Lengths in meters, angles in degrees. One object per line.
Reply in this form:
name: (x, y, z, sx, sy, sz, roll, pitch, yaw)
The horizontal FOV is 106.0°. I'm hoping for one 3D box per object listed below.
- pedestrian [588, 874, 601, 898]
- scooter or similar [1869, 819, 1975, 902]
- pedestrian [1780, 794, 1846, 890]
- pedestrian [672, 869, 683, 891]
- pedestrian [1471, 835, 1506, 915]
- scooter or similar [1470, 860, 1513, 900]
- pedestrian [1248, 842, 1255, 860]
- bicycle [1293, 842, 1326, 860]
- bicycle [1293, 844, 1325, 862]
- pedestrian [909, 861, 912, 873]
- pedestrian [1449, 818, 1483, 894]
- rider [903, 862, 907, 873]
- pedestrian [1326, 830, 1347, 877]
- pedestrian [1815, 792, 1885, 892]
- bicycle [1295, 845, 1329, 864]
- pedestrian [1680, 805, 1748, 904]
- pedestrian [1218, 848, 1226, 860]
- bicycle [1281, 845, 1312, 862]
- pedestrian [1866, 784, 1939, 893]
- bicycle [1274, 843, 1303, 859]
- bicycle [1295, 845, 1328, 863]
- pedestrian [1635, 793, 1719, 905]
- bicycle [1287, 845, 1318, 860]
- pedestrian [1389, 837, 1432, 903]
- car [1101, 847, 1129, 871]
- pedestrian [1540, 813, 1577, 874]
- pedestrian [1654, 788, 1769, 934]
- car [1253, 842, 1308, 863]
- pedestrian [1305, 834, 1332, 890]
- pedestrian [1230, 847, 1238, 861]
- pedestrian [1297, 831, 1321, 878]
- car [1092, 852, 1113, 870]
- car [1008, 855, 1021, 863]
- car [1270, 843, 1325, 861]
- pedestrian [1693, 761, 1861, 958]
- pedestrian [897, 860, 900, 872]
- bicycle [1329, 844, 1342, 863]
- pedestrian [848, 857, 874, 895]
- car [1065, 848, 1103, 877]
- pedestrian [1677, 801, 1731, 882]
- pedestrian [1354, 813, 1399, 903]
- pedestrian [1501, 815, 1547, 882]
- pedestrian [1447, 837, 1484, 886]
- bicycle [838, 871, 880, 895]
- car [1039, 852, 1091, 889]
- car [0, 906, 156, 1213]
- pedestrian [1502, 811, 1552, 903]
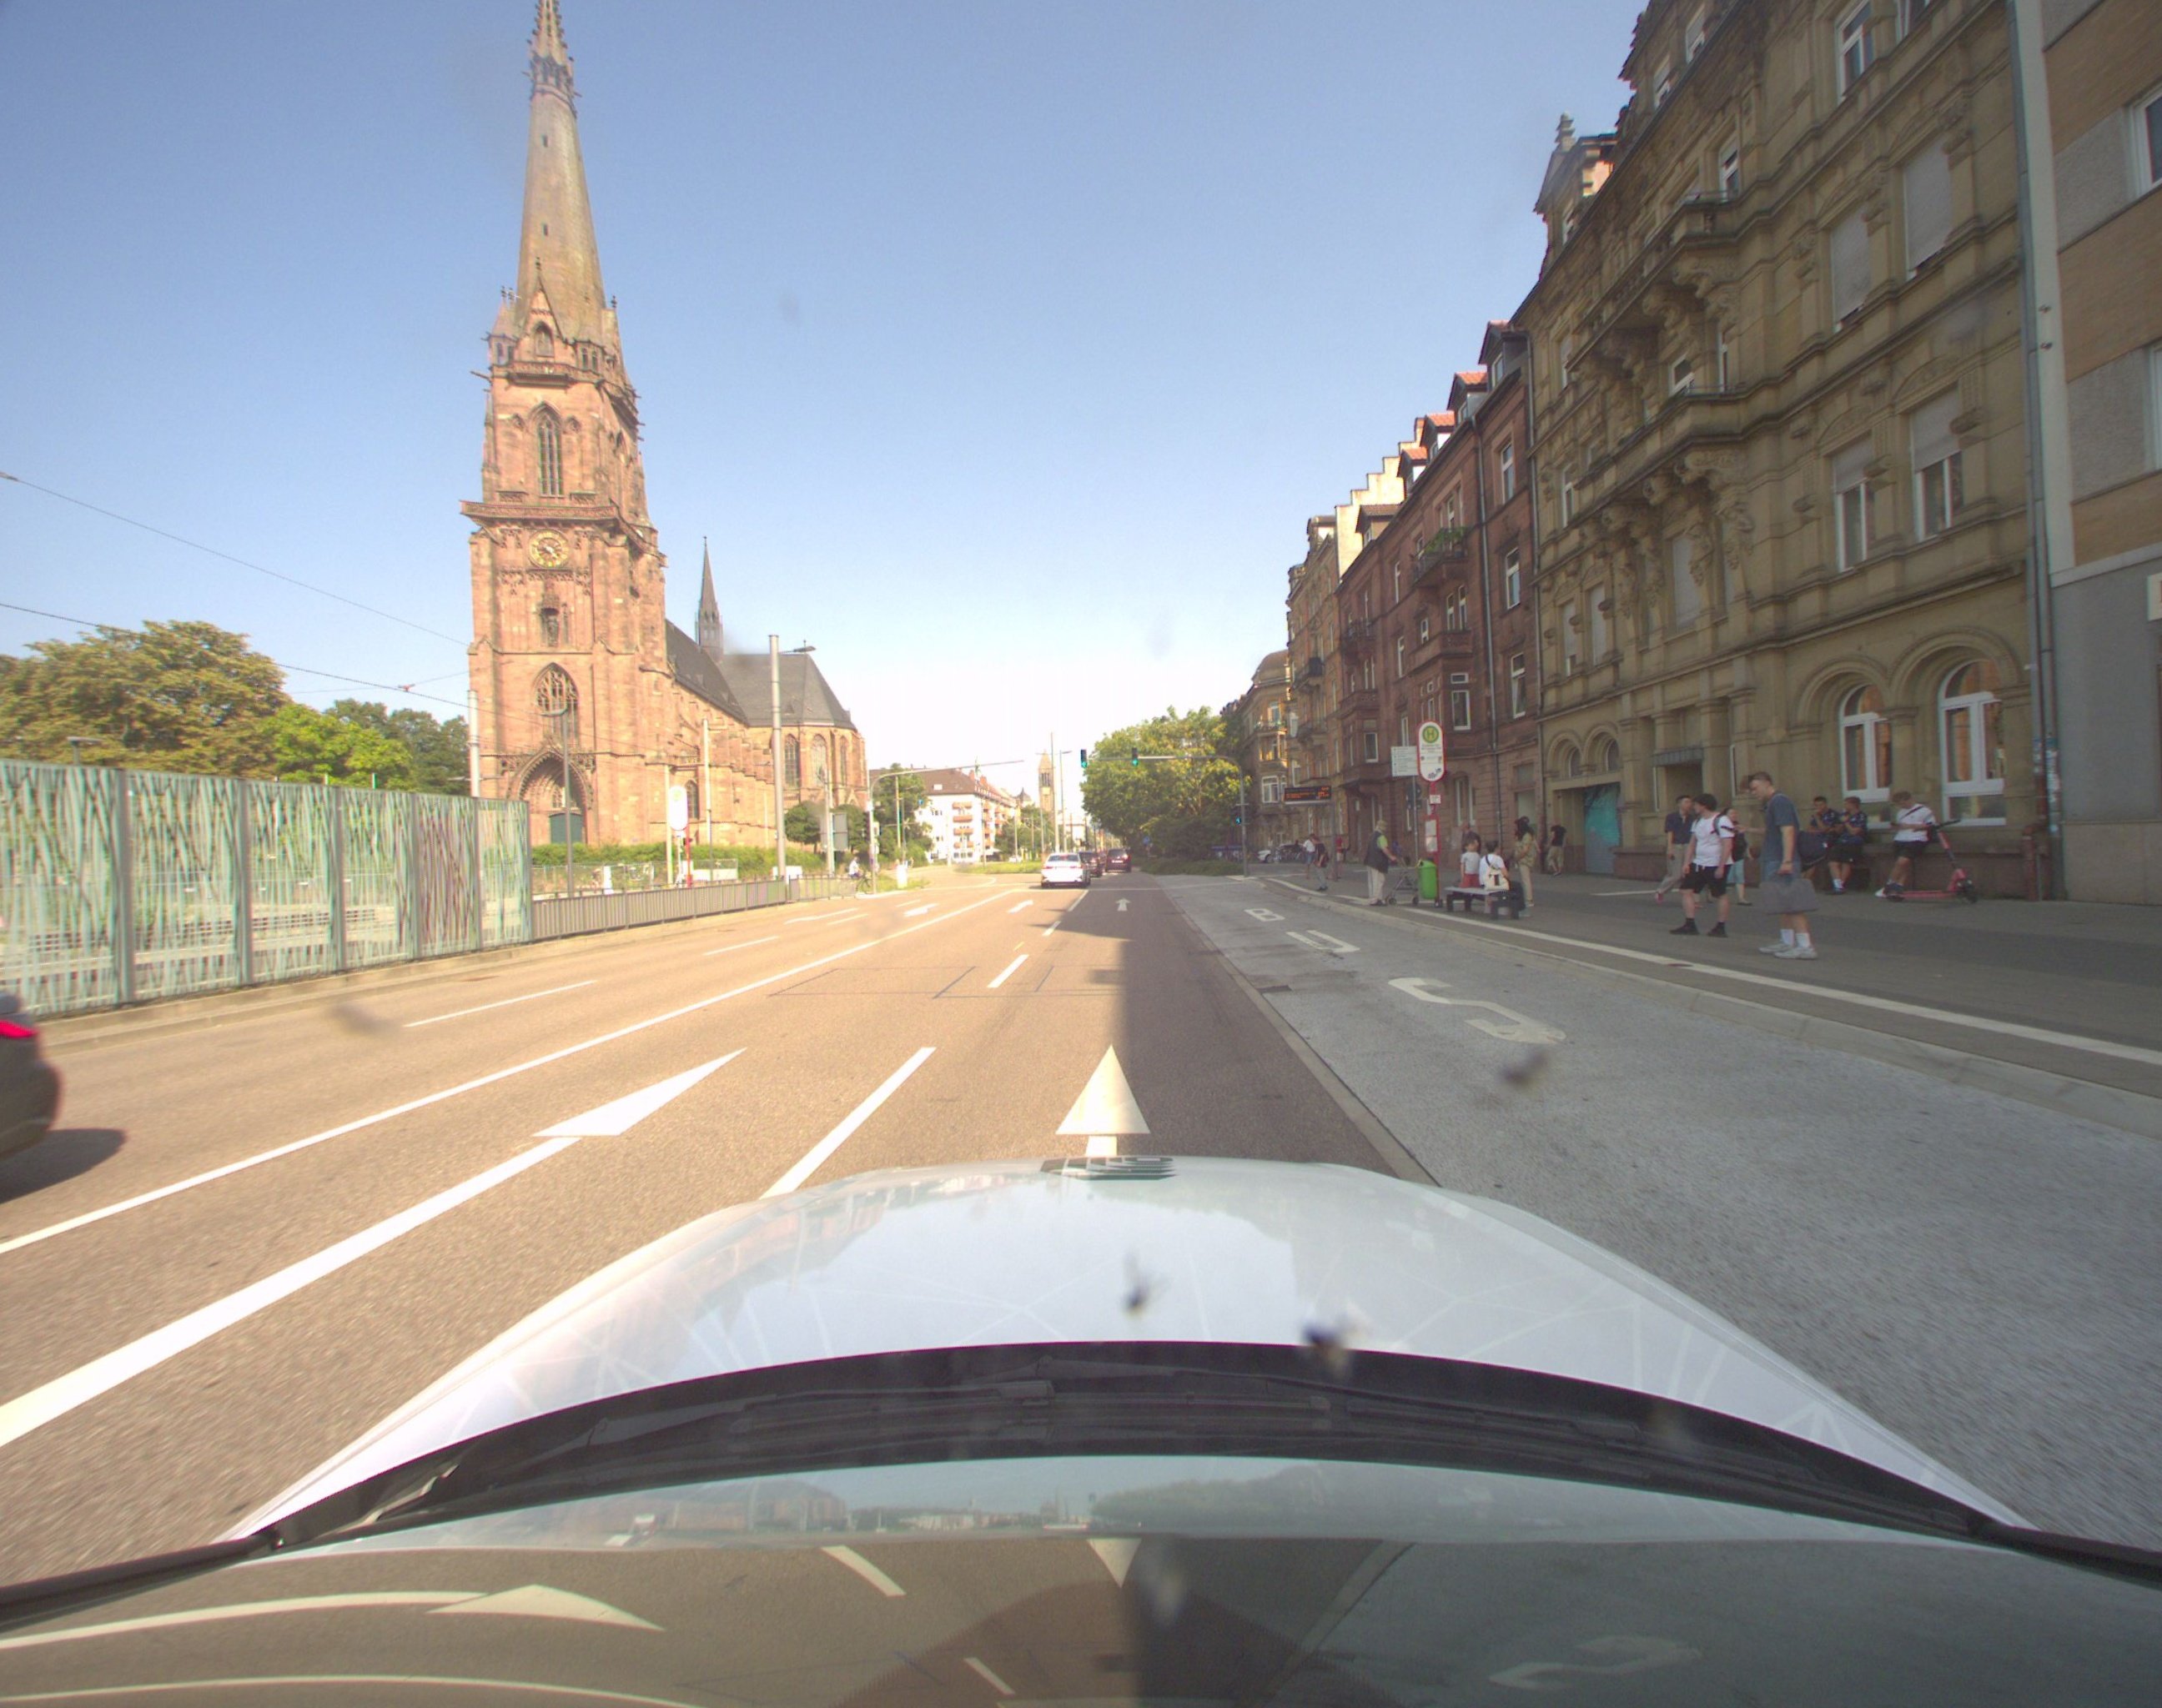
pedestrian: (-32.824, 2.146, 54.966, 0.490, 1.576, 0.553, -3, 0, 2)
scooter or similar: (12.571, 0.092, 12.210, 0.358, 1.163, 1.152, -3, 0, 1)
pedestrian: (13.395, -0.219, 14.910, 0.601, 1.692, 0.587, -3, 0, 0)
pedestrian: (-29.429, 1.878, 59.405, 0.542, 1.576, 0.659, -3, 0, -16)
pedestrian: (6.675, 0.340, 13.360, 0.274, 1.274, 0.447, -3, 0, -3)
scooter or similar: (8.042, 0.496, 15.971, 0.563, 0.741, 0.514, -3, 0, 0)
pedestrian: (15.029, -0.257, 71.971, 0.442, 1.506, 0.487, -3, 0, -2)
bicycle: (14.509, -0.173, 51.709, 1.923, 1.048, 0.499, -3, 0, -3)
bicycle: (14.931, -0.052, 53.384, 1.923, 1.048, 0.499, -3, 0, -3)
pedestrian: (-23.403, 1.791, 111.622, 0.303, 1.518, 0.341, -3, 0, -1)
pedestrian: (9.051, 0.037, 19.168, 0.340, 1.732, 0.805, -3, 0, 0)
rider: (-22.704, 1.739, 105.023, 0.304, 1.431, 0.251, -3, 0, 27)
pedestrian: (9.439, -0.011, 30.090, 0.479, 1.702, 0.703, -3, 0, 0)
pedestrian: (13.444, -0.211, 14.249, 0.601, 1.692, 0.587, -3, 0, 0)
bicycle: (14.234, 0.016, 50.294, 1.923, 1.048, 0.499, -3, 0, -3)
pedestrian: (10.702, 0.009, 13.799, 0.484, 1.610, 0.814, -3, 0, 4)
pedestrian: (12.394, 0.003, 71.478, 0.446, 1.070, 0.483, -3, 0, -27)
bicycle: (14.694, -0.057, 55.443, 1.923, 1.048, 0.527, -3, 0, -3)
pedestrian: (13.384, -0.250, 13.286, 0.601, 1.731, 0.511, -3, 0, 0)
bicycle: (14.928, -0.188, 58.503, 1.923, 1.048, 0.527, -3, 0, -3)
bicycle: (14.462, -0.017, 51.123, 1.923, 1.048, 0.499, -3, 0, -3)
pedestrian: (10.051, -0.079, 13.770, 0.614, 1.804, 1.073, -3, 0, 4)
bicycle: (14.754, -0.102, 54.189, 1.923, 0.950, 0.499, -3, 0, -3)
pedestrian: (6.566, 0.316, 16.247, 0.563, 1.277, 0.597, -3, 0, -1)
car: (2.451, 0.324, 57.907, 1.823, 1.621, 4.361, -1, 0, 4)
pedestrian: (13.749, -0.294, 23.458, 0.627, 1.719, 0.691, -3, 0, 3)
pedestrian: (7.859, 0.085, 10.194, 0.747, 1.729, 0.801, -3, 0, 0)
car: (17.059, -0.125, 69.681, 4.168, 1.563, 1.999, -3, 0, -1)
pedestrian: (6.939, 0.230, 23.796, 0.526, 1.612, 0.703, -3, 0, 0)
pedestrian: (13.946, 0.011, 74.051, 0.595, 1.248, 0.507, -3, 0, 2)
pedestrian: (8.424, 0.015, 30.119, 0.687, 1.664, 0.620, -3, 0, 4)
car: (2.146, 0.688, 80.179, 1.823, 1.621, 4.361, -1, 0, 4)
car: (-12.813, 0.972, 156.211, 1.986, 1.500, 4.001, -3, 0, 1)
car: (17.100, -0.127, 64.501, 3.925, 1.222, 1.547, -3, 0, -1)
pedestrian: (6.948, 0.050, 8.175, 0.922, 1.831, 0.801, -3, 0, 0)
pedestrian: (-24.471, 1.638, 109.272, 0.303, 1.518, 0.341, -3, 0, -1)
bicycle: (15.194, -0.034, 48.609, 0.414, 1.048, 1.674, -3, 0, 9)
pedestrian: (-10.020, 0.979, 37.115, 0.913, 1.679, 0.602, -3, 0, 0)
car: (0.242, 0.502, 48.835, 1.985, 1.621, 4.361, -1, 0, 4)
pedestrian: (13.086, -0.254, 17.122, 0.601, 1.654, 0.587, -3, 0, 0)
pedestrian: (5.923, 0.078, 16.372, 0.563, 1.729, 0.745, -3, 0, 0)
pedestrian: (11.872, -0.144, 21.830, 0.698, 1.724, 0.898, -3, 0, 3)
pedestrian: (6.689, 0.123, 14.184, 0.302, 0.820, 0.603, -3, 0, -4)
bicycle: (-10.109, 1.321, 37.132, 1.752, 0.978, 0.479, -3, 0, 1)
car: (-0.606, 0.630, 34.250, 1.801, 1.427, 4.779, 0, 0, 3)
car: (-5.799, 0.994, 1.980, 1.706, 1.331, 4.525, -4, 0, 3)
pedestrian: (8.652, 0.057, 15.814, 0.563, 1.729, 0.617, -3, 0, 0)
